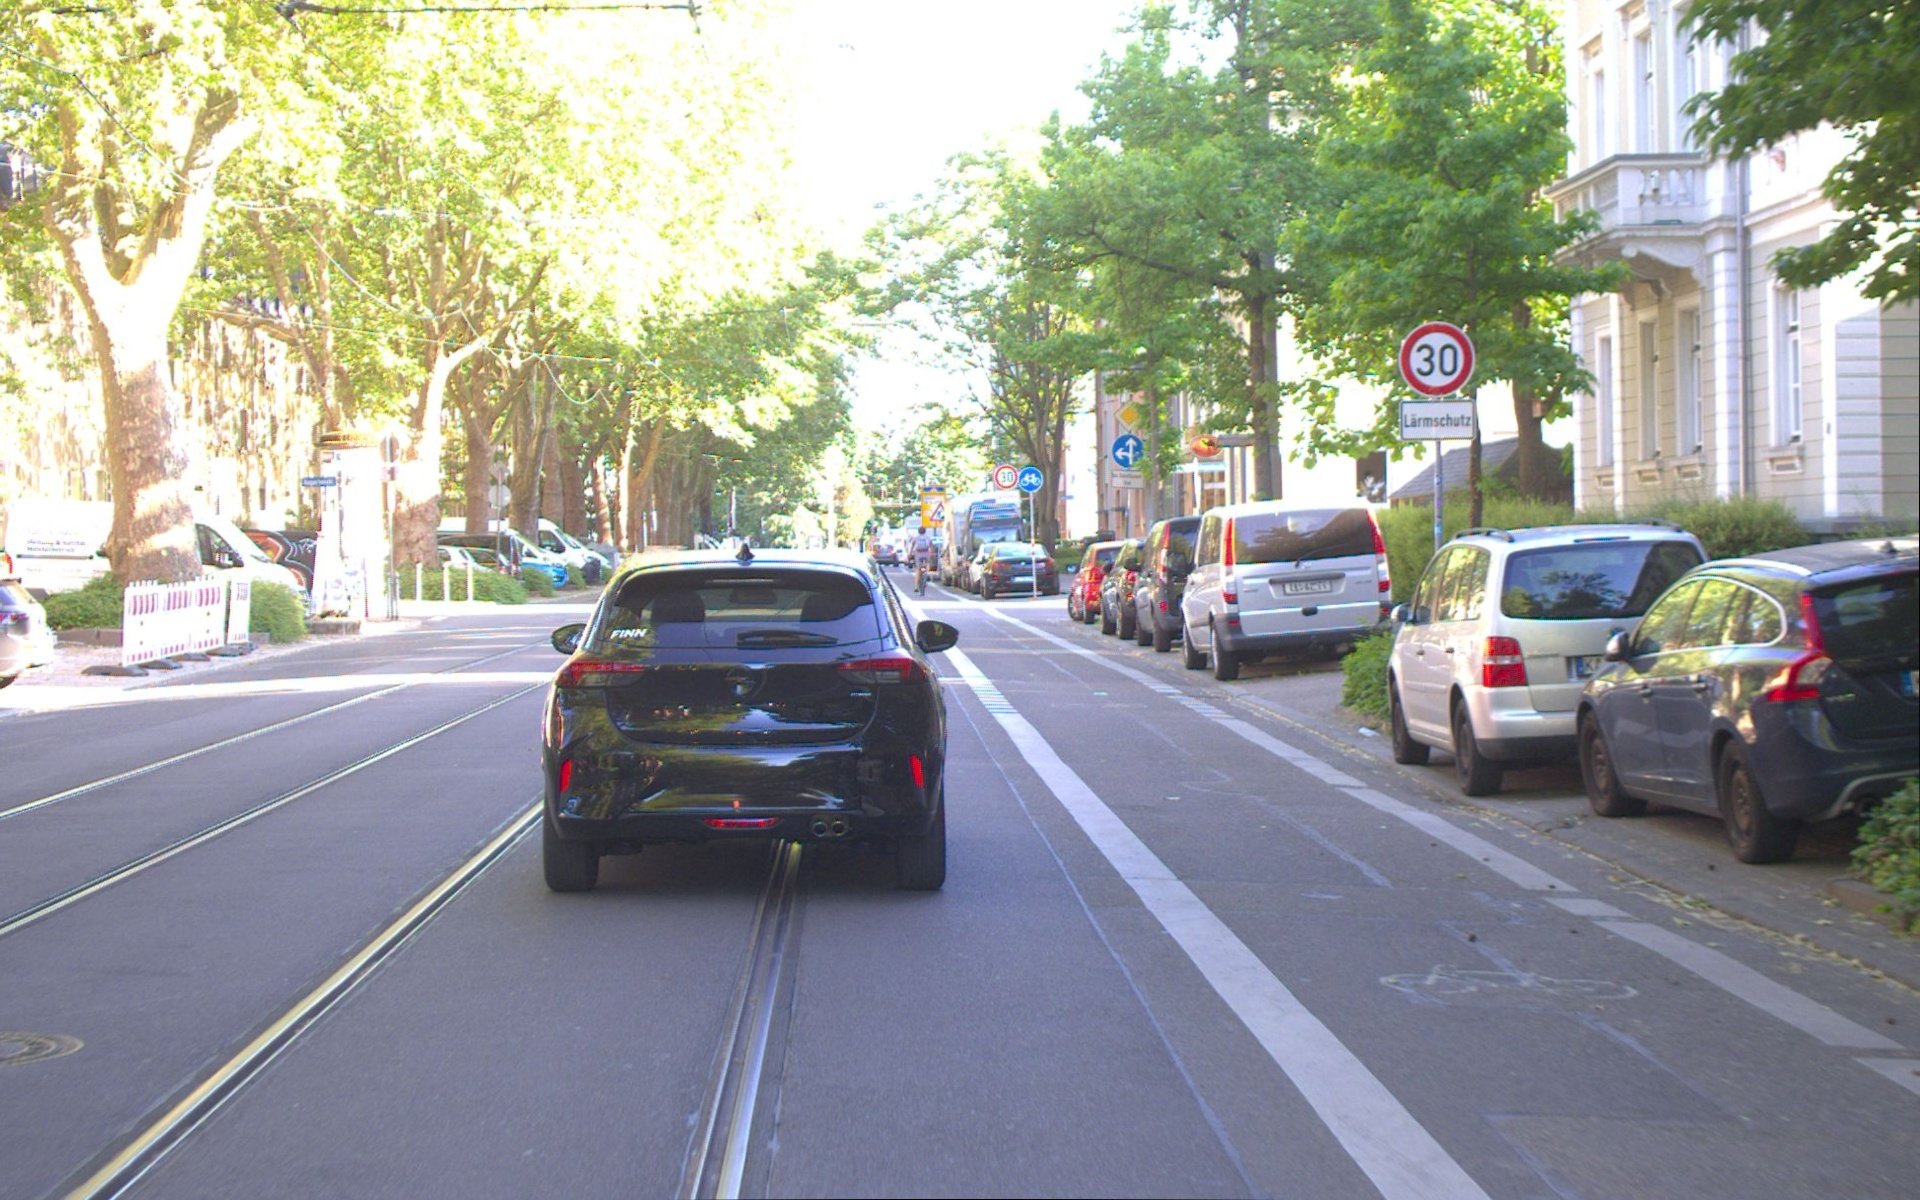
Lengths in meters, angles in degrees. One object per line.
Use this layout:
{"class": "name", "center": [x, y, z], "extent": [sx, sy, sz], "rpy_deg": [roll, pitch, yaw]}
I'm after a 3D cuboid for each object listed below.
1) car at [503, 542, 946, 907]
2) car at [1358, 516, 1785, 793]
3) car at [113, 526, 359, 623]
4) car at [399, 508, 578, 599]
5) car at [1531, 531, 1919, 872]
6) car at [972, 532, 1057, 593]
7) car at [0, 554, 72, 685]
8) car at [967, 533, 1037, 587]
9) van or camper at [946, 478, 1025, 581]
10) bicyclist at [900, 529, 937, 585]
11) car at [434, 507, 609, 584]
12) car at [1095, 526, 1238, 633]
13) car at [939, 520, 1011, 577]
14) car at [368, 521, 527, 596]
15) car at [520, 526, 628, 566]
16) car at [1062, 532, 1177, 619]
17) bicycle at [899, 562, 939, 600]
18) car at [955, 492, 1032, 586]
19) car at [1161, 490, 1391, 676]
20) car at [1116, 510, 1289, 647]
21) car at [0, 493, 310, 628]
{"class": "car", "center": [-0.987, 0.467, 15.684], "extent": [1.763, 1.455, 3.951], "rpy_deg": [0, 1, -1]}
{"class": "car", "center": [3.919, 0.292, 22.773], "extent": [1.884, 1.562, 4.242], "rpy_deg": [-3, 1, -2]}
{"class": "car", "center": [-13.563, -0.493, 64.609], "extent": [4.299, 1.795, 1.926], "rpy_deg": [0, 1, -4]}
{"class": "car", "center": [-14.316, -1.420, 104.521], "extent": [5.036, 2.366, 2.081], "rpy_deg": [-4, 1, -1]}
{"class": "car", "center": [4.456, 0.418, 17.940], "extent": [1.884, 1.462, 4.594], "rpy_deg": [-3, 1, -3]}
{"class": "car", "center": [1.363, -0.969, 87.896], "extent": [1.884, 1.429, 4.530], "rpy_deg": [-3, 1, -2]}
{"class": "car", "center": [-12.353, 0.205, 39.245], "extent": [3.986, 1.460, 1.854], "rpy_deg": [0, 1, -2]}
{"class": "car", "center": [1.173, -1.120, 98.233], "extent": [1.803, 1.429, 4.000], "rpy_deg": [-2, 0, -2]}
{"class": "van or camper", "center": [0.796, -2.279, 111.981], "extent": [2.254, 3.205, 5.531], "rpy_deg": [-2, 1, -2]}
{"class": "bicyclist", "center": [-1.116, -1.172, 93.128], "extent": [0.958, 1.494, 1.094], "rpy_deg": [0, 1, -3]}
{"class": "car", "center": [-14.916, -1.867, 117.223], "extent": [5.639, 2.584, 2.196], "rpy_deg": [0, 1, 2]}
{"class": "car", "center": [3.147, -0.333, 53.156], "extent": [1.711, 1.509, 4.037], "rpy_deg": [-3, 1, -3]}
{"class": "car", "center": [0.504, -1.783, 119.185], "extent": [2.254, 1.834, 5.531], "rpy_deg": [-2, 1, -2]}
{"class": "car", "center": [-14.577, -1.178, 97.820], "extent": [4.298, 1.834, 1.783], "rpy_deg": [-4, 1, -9]}
{"class": "car", "center": [-16.118, -2.239, 143.420], "extent": [4.353, 1.659, 2.001], "rpy_deg": [0, 1, -10]}
{"class": "car", "center": [2.855, -0.460, 62.174], "extent": [1.702, 1.418, 3.979], "rpy_deg": [-4, 1, -2]}
{"class": "bicycle", "center": [-1.112, -0.528, 93.159], "extent": [0.967, 0.995, 2.583], "rpy_deg": [0, 1, -3]}
{"class": "car", "center": [1.011, -1.898, 105.424], "extent": [2.085, 2.762, 4.698], "rpy_deg": [-2, 2, -2]}
{"class": "car", "center": [3.455, -0.220, 38.462], "extent": [1.884, 1.845, 4.968], "rpy_deg": [-3, 1, -2]}
{"class": "car", "center": [3.286, -0.321, 47.420], "extent": [1.885, 1.760, 4.678], "rpy_deg": [-1, 1, -2]}
{"class": "car", "center": [-13.776, -0.678, 58.751], "extent": [5.032, 2.251, 2.086], "rpy_deg": [0, 1, -4]}
